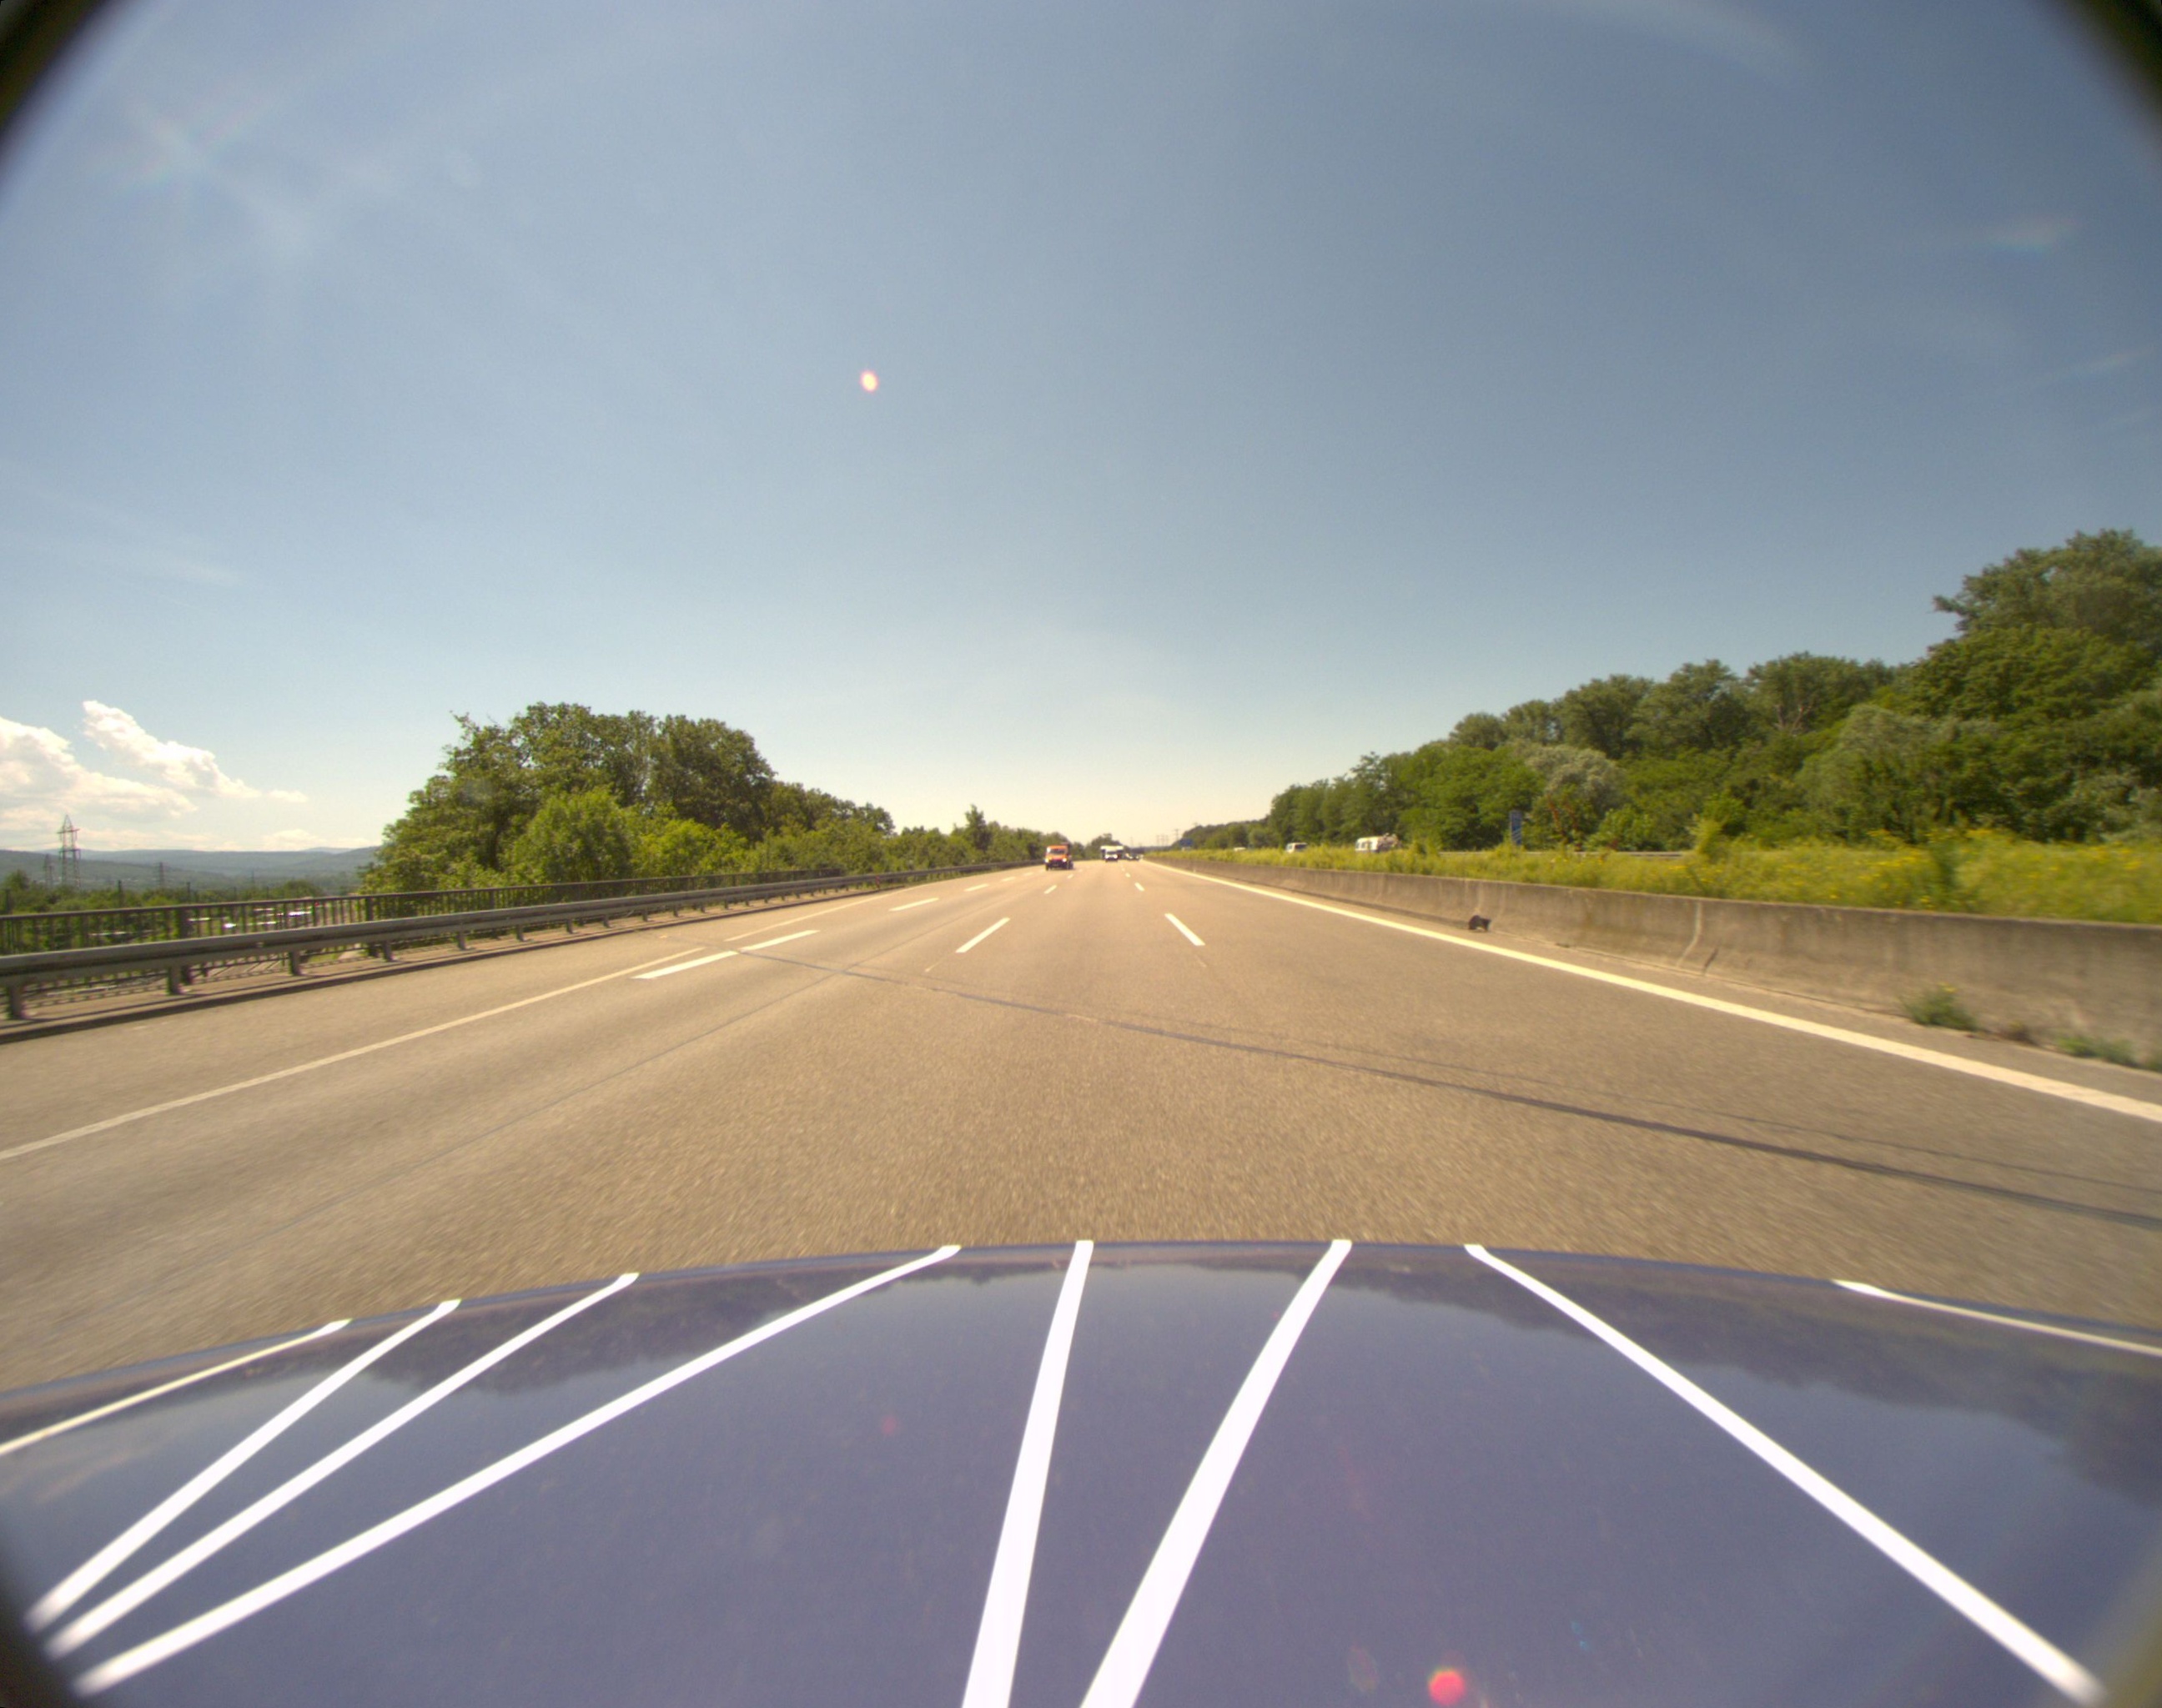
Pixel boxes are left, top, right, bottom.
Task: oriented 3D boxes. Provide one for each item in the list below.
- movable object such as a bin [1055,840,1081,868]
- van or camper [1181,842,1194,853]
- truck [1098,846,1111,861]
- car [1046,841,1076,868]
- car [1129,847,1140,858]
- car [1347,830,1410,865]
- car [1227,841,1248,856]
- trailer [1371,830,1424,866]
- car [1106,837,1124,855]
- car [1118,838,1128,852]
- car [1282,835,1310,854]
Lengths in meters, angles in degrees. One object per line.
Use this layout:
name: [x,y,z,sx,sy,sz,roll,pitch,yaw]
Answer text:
movable object such as a bin: [-1.309,0.049,80.080,2.179,2.799,4.763,-2,0,5]
van or camper: [23.851,-1.528,170.277,2.255,2.373,6.761,-1,0,4]
truck: [6.885,-0.111,222.854,2.989,4.186,7.597,-3,0,6]
car: [-1.834,0.072,73.975,1.998,2.391,7.229,-2,-1,5]
car: [10.287,-0.306,145.736,1.998,2.001,4.001,-1,-1,2]
car: [18.546,-0.405,47.627,2.130,2.070,4.970,-2,0,2]
car: [20.177,-0.679,98.238,1.909,1.888,4.722,-2,0,2]
trailer: [18.443,-0.343,44.425,2.108,2.014,2.369,-2,1,1]
car: [6.034,-1.364,133.088,2.521,2.856,6.403,-5,-1,6]
car: [12.933,-2.702,234.587,2.796,4.090,7.307,-2,1,3]
car: [24.420,-1.055,86.304,1.998,2.002,4.619,-2,0,2]
